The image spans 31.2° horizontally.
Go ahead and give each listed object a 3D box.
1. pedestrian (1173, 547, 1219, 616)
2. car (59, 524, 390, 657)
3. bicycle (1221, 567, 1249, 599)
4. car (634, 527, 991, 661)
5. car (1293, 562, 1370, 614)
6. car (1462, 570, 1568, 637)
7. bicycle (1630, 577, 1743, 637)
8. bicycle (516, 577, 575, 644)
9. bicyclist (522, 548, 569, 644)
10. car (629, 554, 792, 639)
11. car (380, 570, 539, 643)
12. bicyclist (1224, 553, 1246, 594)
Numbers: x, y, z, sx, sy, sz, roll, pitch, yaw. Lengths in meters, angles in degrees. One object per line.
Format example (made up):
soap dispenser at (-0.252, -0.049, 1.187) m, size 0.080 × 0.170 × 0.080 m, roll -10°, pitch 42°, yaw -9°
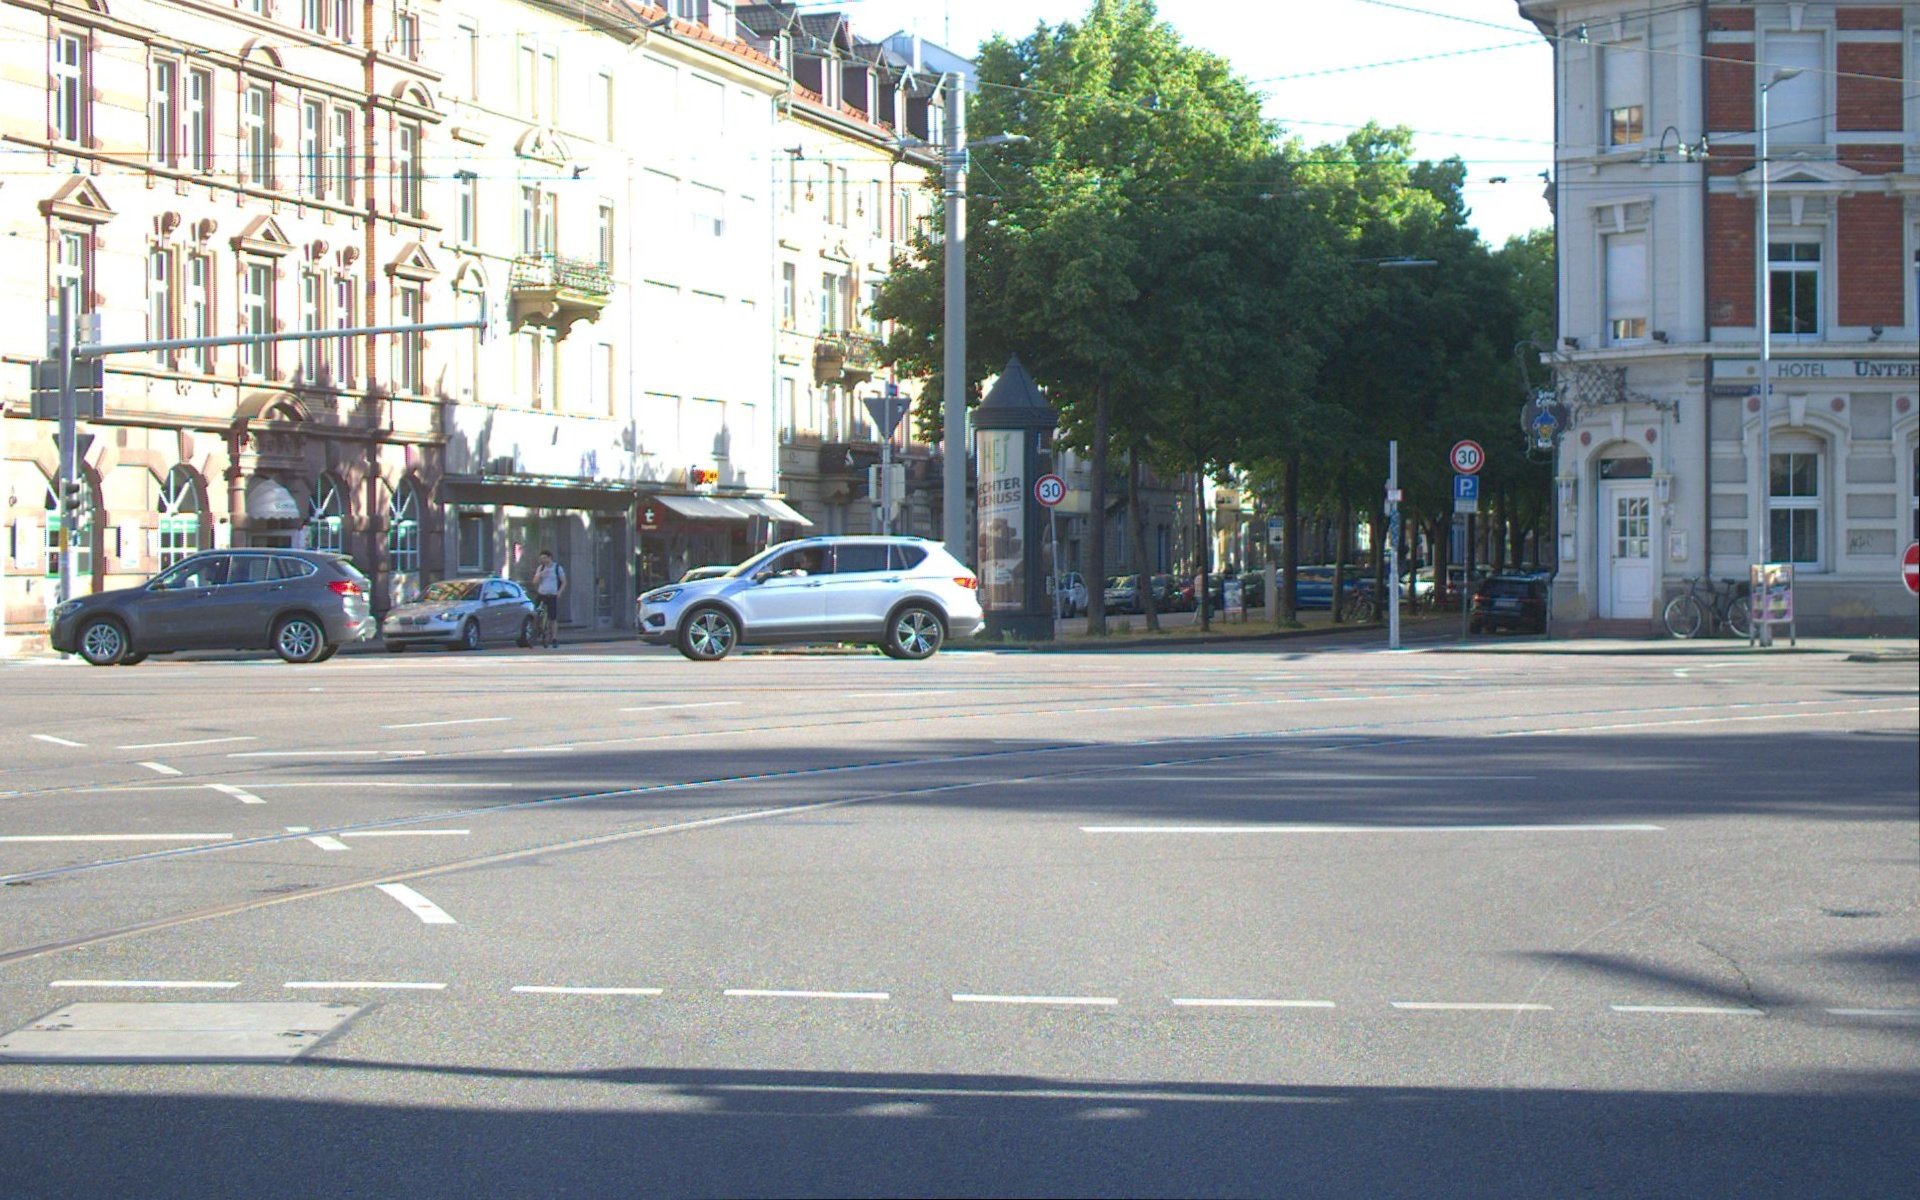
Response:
pedestrian at (6.910, -0.546, 100.605) m, size 0.961 × 2.007 × 0.918 m, roll 1°, pitch 0°, yaw -32°
car at (-10.230, -0.133, 48.038) m, size 4.228 × 1.767 × 1.818 m, roll 1°, pitch 0°, yaw -1°
bicycle at (10.519, -0.653, 131.449) m, size 0.674 × 1.203 × 1.820 m, roll 1°, pitch 1°, yaw 18°
car at (-2.045, -0.086, 46.845) m, size 4.673 × 1.728 × 1.837 m, roll 1°, pitch 0°, yaw -8°
car at (12.622, -0.414, 116.616) m, size 1.995 × 1.678 × 3.997 m, roll 1°, pitch 1°, yaw 15°
car at (13.337, 0.069, 82.501) m, size 1.758 × 1.550 × 3.996 m, roll 1°, pitch 1°, yaw 20°
bicycle at (12.068, 0.107, 57.124) m, size 1.804 × 0.959 × 0.603 m, roll 1°, pitch 0°, yaw 14°
bicycle at (-7.850, 0.197, 65.083) m, size 0.565 × 1.250 × 1.556 m, roll 1°, pitch 0°, yaw 14°
bicyclist at (-7.853, -0.080, 65.088) m, size 0.565 × 1.797 × 0.913 m, roll 1°, pitch 0°, yaw 15°
car at (-4.838, -0.085, 67.282) m, size 1.804 × 1.579 × 4.156 m, roll 1°, pitch 1°, yaw 17°
car at (-9.749, 0.107, 67.193) m, size 1.661 × 1.369 × 3.889 m, roll 1°, pitch 1°, yaw 15°
bicyclist at (10.524, -1.000, 131.449) m, size 0.674 × 1.563 × 0.747 m, roll 1°, pitch 0°, yaw 18°
